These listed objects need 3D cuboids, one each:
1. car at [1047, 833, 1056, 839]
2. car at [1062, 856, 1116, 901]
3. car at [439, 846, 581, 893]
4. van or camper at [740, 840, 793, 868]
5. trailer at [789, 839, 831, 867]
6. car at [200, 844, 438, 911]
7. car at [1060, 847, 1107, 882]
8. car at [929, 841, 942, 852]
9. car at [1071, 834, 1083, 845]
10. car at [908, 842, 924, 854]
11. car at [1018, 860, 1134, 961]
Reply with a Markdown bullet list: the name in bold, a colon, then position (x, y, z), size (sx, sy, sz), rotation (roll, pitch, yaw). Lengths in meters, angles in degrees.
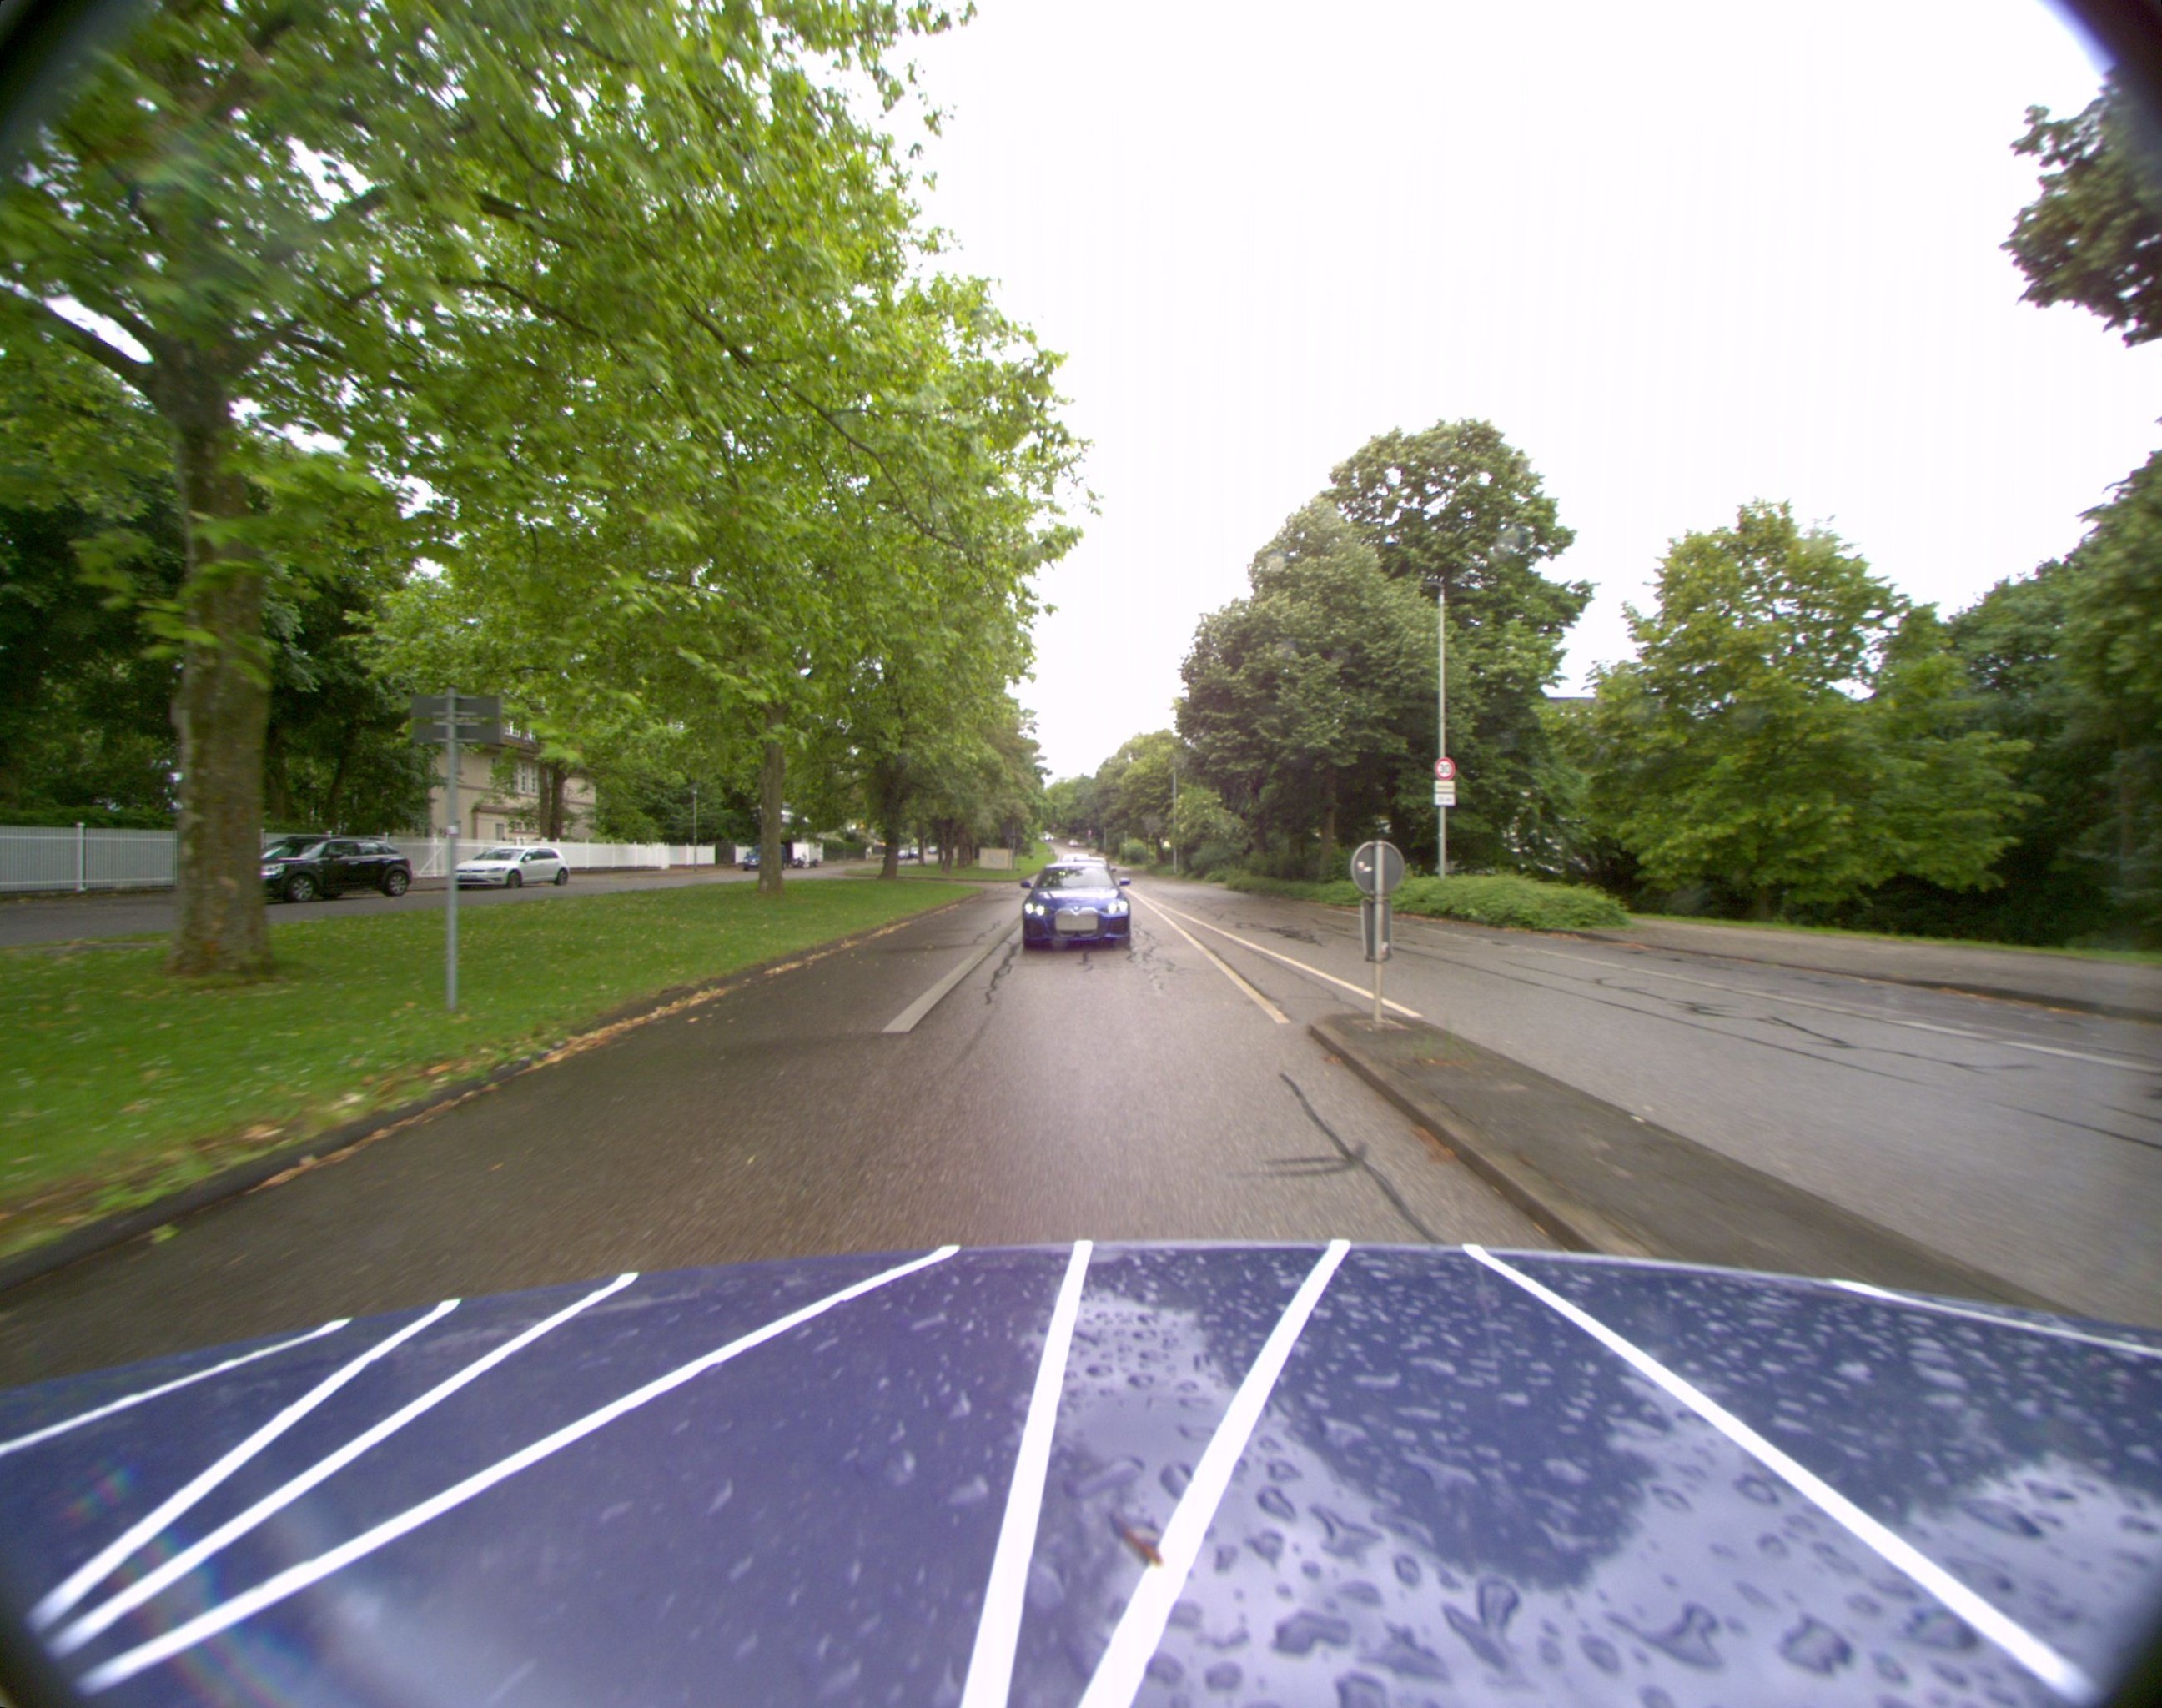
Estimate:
- **car**: position (-7.246, -4.519, 189.245), size (1.825, 1.471, 4.068), rotation (-1, 1, 4)
- **car**: position (0.235, 0.854, 28.618), size (1.826, 1.471, 4.066), rotation (-2, 1, -2)
- **car**: position (-19.754, 0.487, 26.544), size (1.999, 1.440, 4.122), rotation (-2, 1, -5)
- **van or camper**: position (-21.606, -0.009, 52.364), size (1.999, 1.798, 4.772), rotation (-2, 1, -6)
- **trailer**: position (-22.129, -0.099, 62.185), size (1.771, 2.104, 5.190), rotation (-2, 1, -4)
- **car**: position (-18.959, 0.502, 19.238), size (1.999, 1.462, 4.122), rotation (-2, 1, -5)
- **car**: position (0.068, 0.430, 35.176), size (2.032, 1.471, 4.066), rotation (-1, 1, -2)
- **car**: position (-29.089, -1.477, 151.971), size (1.999, 2.002, 3.998), rotation (1, 1, -3)
- **car**: position (-0.938, -3.175, 166.486), size (2.000, 2.001, 4.572), rotation (0, -2, -8)
- **car**: position (-27.844, -0.987, 128.019), size (1.999, 2.002, 3.998), rotation (1, 1, -3)
- **car**: position (-0.115, 0.922, 14.247), size (1.826, 1.471, 4.066), rotation (-2, 1, -1)
